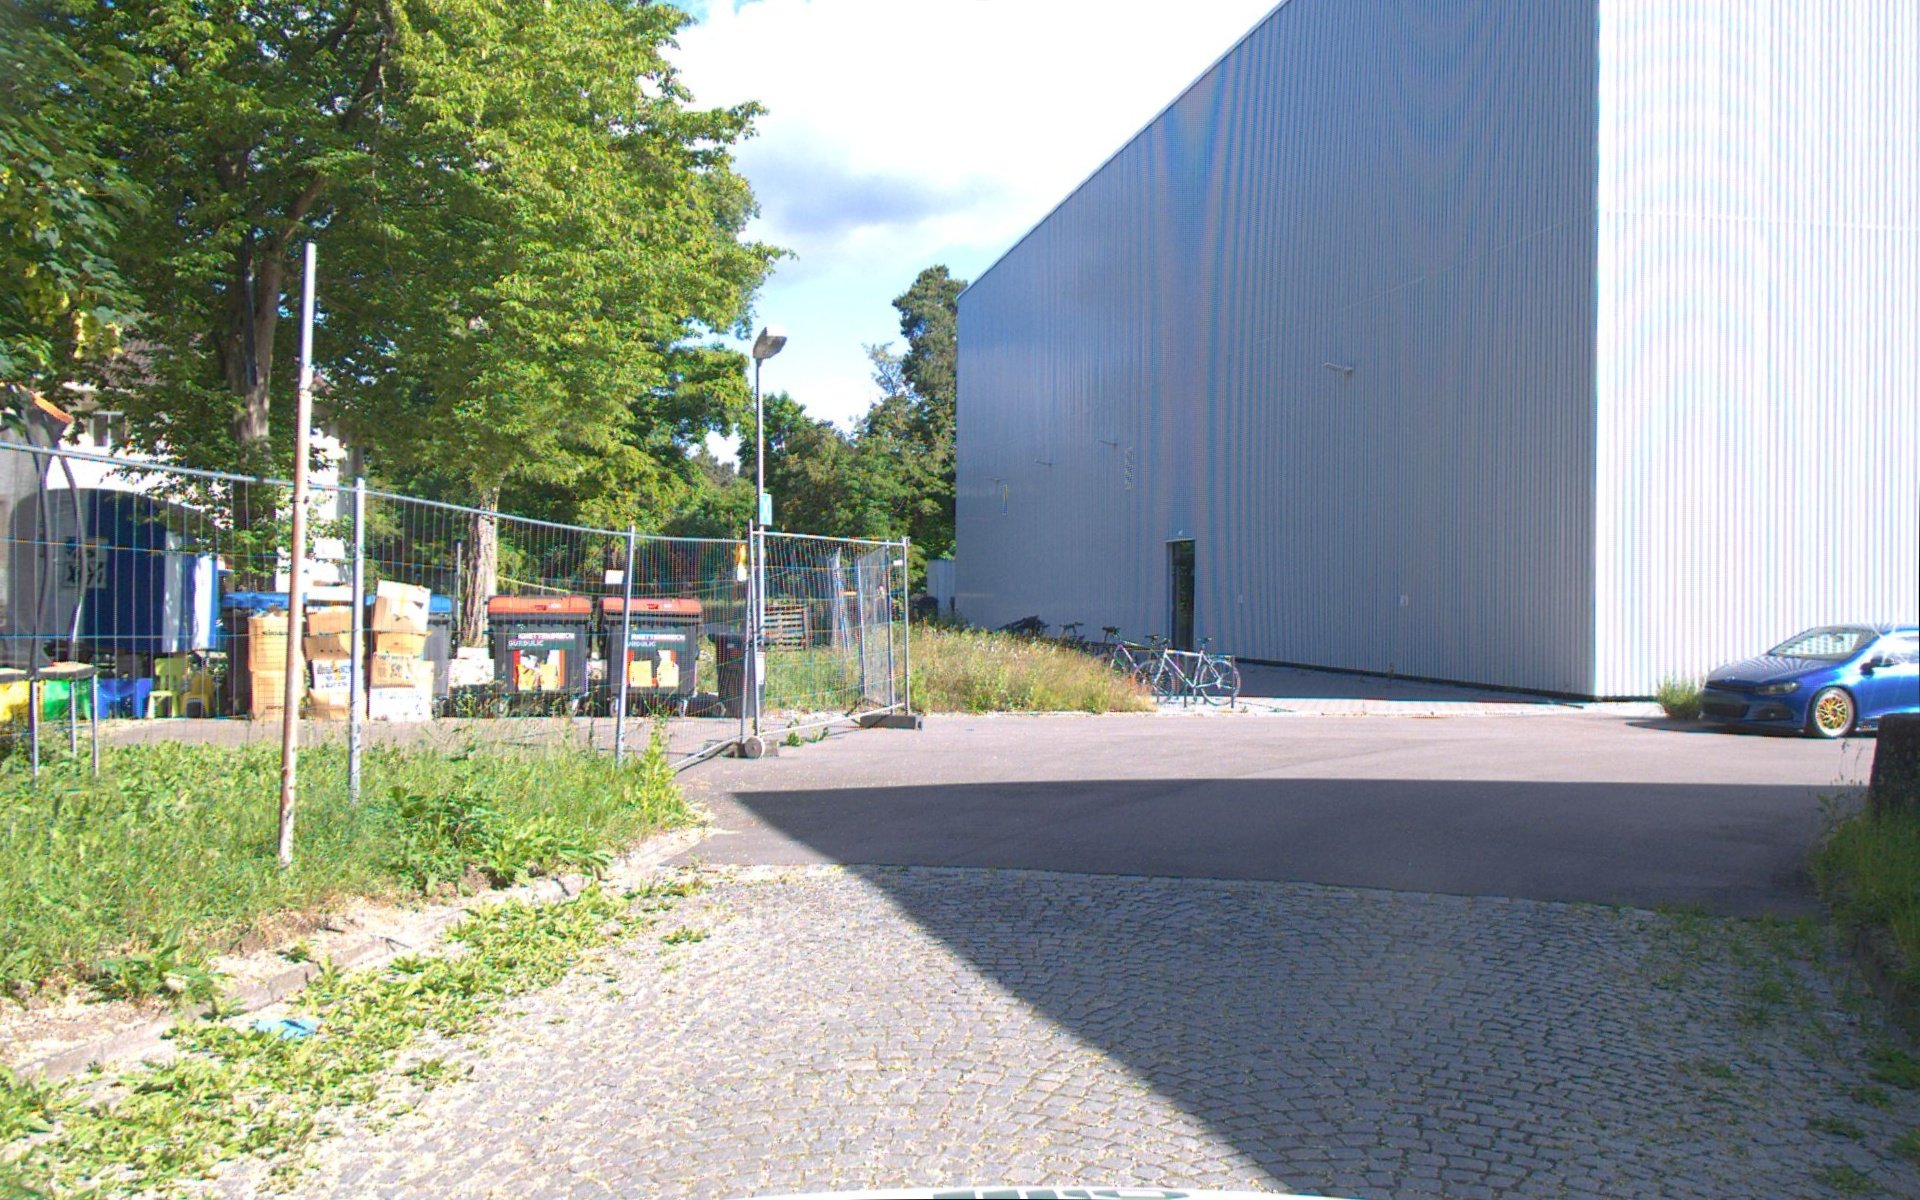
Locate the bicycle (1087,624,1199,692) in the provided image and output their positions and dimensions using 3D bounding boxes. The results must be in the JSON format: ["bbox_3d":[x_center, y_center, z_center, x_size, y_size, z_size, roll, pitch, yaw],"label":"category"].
[{"bbox_3d":[3.011,0.958,27.298,1.759,1.101,0.523,1,0,-10],"label":"bicycle"}]

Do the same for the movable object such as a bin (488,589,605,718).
[{"bbox_3d":[-5.023,0.635,20.065,1.317,1.510,0.803,1,0,-18],"label":"movable object such as a bin"}]

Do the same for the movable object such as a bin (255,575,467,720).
[{"bbox_3d":[-6.951,0.541,19.342,2.252,1.619,1.169,1,0,-18],"label":"movable object such as a bin"}]

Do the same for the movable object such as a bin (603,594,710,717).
[{"bbox_3d":[-3.745,0.674,20.383,1.225,1.470,0.699,1,0,-18],"label":"movable object such as a bin"}]

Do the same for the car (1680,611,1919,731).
[{"bbox_3d":[11.366,0.865,20.970,3.872,1.373,1.669,0,1,-13],"label":"car"}]

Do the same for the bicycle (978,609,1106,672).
[{"bbox_3d":[1.733,0.862,35.364,2.581,1.288,1.139,1,0,-8],"label":"bicycle"}]

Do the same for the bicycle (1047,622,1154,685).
[{"bbox_3d":[2.529,0.956,29.799,1.855,1.114,0.524,0,-1,-13],"label":"bicycle"}]

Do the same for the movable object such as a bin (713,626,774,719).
[{"bbox_3d":[-2.678,0.889,20.475,0.722,1.117,0.818,1,0,-8],"label":"movable object such as a bin"}]

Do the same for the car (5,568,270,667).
[{"bbox_3d":[-17.085,0.349,34.612,4.634,1.935,1.991,-1,0,-16],"label":"car"}]

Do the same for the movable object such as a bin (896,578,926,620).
[{"bbox_3d":[-2.423,-0.034,81.388,1.392,2.049,1.123,1,0,-8],"label":"movable object such as a bin"}]

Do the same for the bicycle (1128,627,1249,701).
[{"bbox_3d":[3.428,0.954,24.766,1.771,1.080,0.457,1,0,-17],"label":"bicycle"}]
